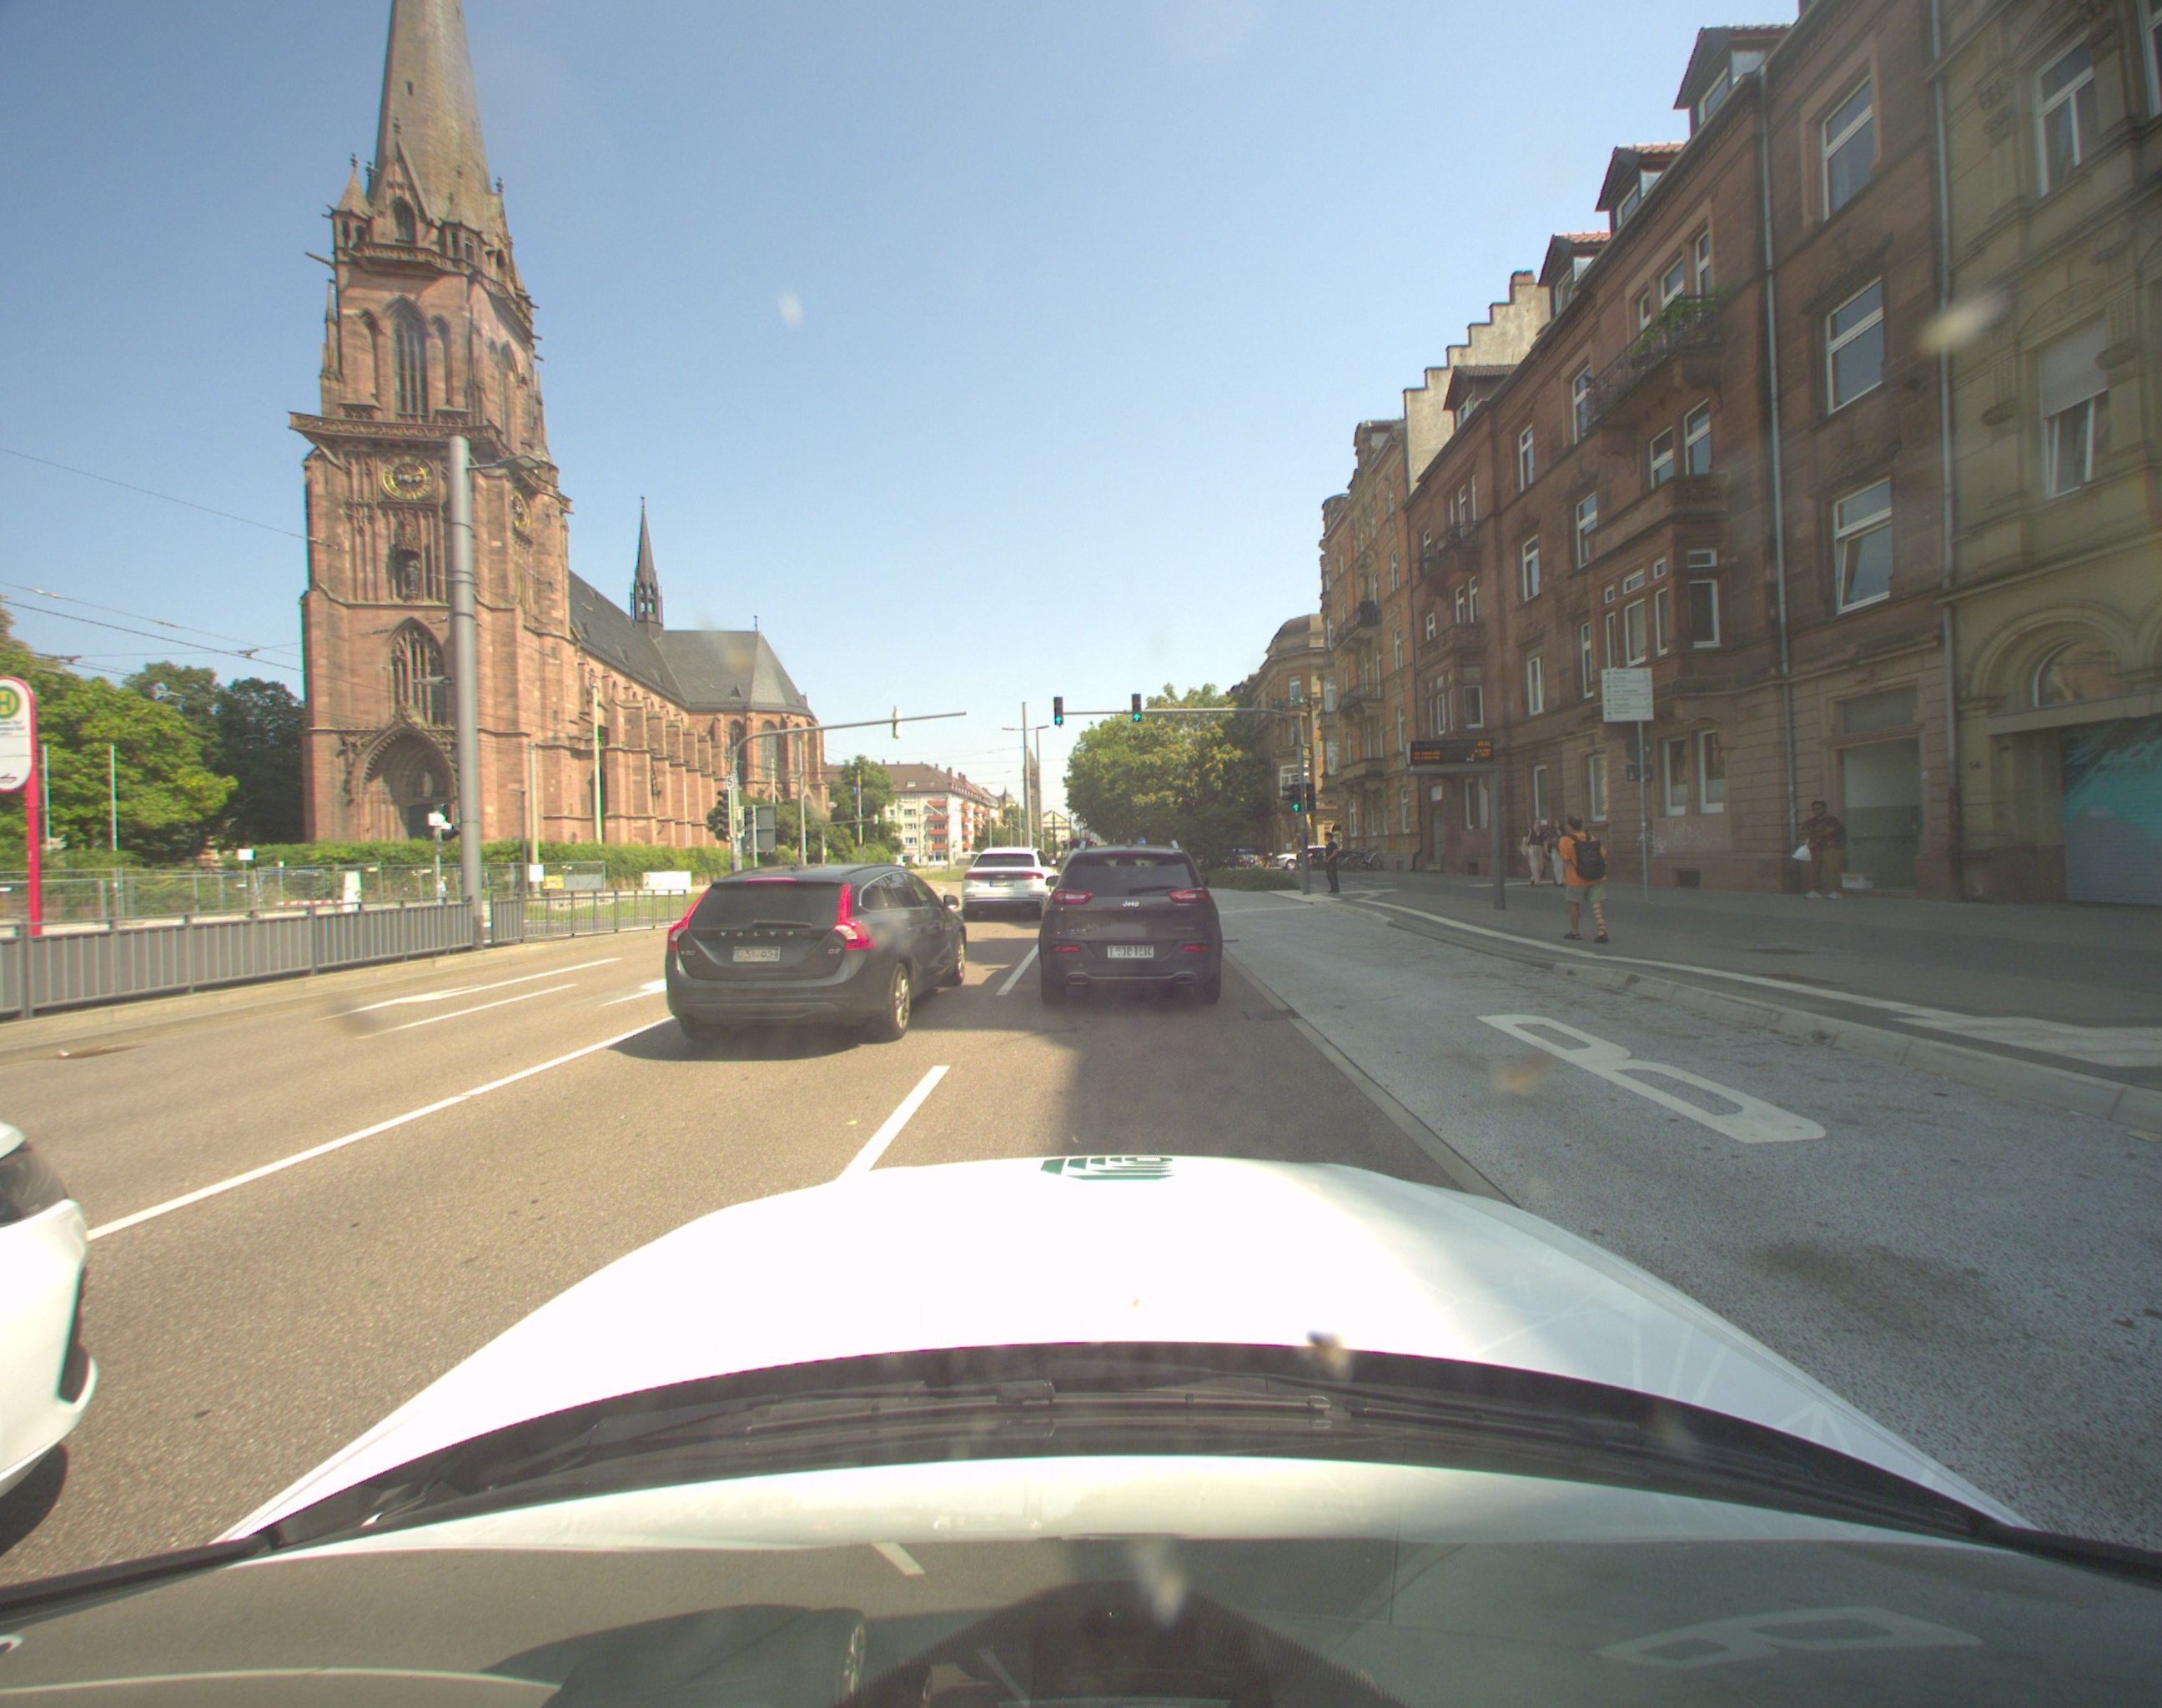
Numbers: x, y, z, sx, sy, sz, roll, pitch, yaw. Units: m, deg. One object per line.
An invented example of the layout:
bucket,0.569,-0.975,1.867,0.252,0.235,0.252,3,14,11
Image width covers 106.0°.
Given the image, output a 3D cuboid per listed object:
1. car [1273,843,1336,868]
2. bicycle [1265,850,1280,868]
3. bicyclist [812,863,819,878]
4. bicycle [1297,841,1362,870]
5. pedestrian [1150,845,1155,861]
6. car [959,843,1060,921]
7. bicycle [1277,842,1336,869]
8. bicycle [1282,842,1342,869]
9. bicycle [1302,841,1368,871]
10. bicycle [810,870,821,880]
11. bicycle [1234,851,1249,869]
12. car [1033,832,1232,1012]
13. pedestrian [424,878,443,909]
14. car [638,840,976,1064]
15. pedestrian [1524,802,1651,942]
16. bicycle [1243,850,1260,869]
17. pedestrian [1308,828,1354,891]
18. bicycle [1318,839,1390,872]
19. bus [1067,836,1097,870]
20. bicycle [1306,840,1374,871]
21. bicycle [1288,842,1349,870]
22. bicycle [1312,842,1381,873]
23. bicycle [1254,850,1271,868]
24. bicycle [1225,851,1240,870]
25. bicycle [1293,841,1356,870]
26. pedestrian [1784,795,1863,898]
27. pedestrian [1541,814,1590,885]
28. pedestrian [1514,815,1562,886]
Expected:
car,15.686,0.098,57.274,3.926,1.521,1.679,-2,0,-6
bicycle,13.794,0.323,58.736,0.655,1.249,2.415,-2,0,4
bicyclist,-24.948,1.541,76.467,0.446,1.321,0.425,-2,0,3
bicycle,12.682,0.083,41.566,2.993,1.373,0.948,-2,0,1
pedestrian,9.255,-0.145,104.864,0.526,2.013,0.532,-2,0,0
car,-1.607,0.603,19.786,1.895,1.651,4.310,-1,0,2
bicycle,12.724,0.101,46.032,2.993,1.373,0.948,-2,0,1
bicycle,12.730,0.086,44.989,2.993,1.373,0.948,-2,0,1
bicycle,12.651,0.091,40.622,2.983,1.371,0.871,-2,0,1
bicycle,-24.928,1.987,76.492,0.452,0.859,1.477,-2,0,3
bicycle,11.496,0.415,58.343,0.646,1.253,3.017,-2,0,4
car,0.588,0.628,9.718,1.825,1.651,4.312,-1,0,3
pedestrian,-32.894,2.006,41.374,0.543,1.531,0.433,-2,0,-13
car,-2.282,0.711,8.092,1.741,1.614,4.310,-1,0,2
pedestrian,6.726,0.236,10.894,0.959,1.741,1.241,-2,0,6
bicycle,12.193,0.389,58.325,0.729,1.253,3.017,-2,0,4
pedestrian,7.163,0.175,23.374,0.771,1.741,0.892,-3,-1,-31
bicycle,12.668,0.061,37.853,2.983,1.371,0.871,-2,0,1
bus,0.224,-0.082,80.032,2.733,3.107,11.957,0,0,1
bicycle,12.597,0.093,39.675,2.983,1.371,0.871,-2,0,1
bicycle,12.725,0.092,43.671,2.993,1.373,0.948,-2,0,1
bicycle,12.609,0.160,38.761,2.983,1.371,0.871,-2,0,1
bicycle,12.979,0.356,58.321,0.759,1.253,3.017,-2,0,4
bicycle,10.839,0.445,58.384,0.646,1.253,3.017,-2,0,4
bicycle,12.730,0.091,42.660,2.993,1.373,0.948,-2,0,1
pedestrian,13.273,-0.135,14.566,0.872,1.778,0.737,-2,0,-26
pedestrian,12.444,-0.110,20.939,0.712,1.778,0.870,-2,0,0
pedestrian,11.715,-0.088,20.913,0.711,1.776,0.848,-2,0,1
